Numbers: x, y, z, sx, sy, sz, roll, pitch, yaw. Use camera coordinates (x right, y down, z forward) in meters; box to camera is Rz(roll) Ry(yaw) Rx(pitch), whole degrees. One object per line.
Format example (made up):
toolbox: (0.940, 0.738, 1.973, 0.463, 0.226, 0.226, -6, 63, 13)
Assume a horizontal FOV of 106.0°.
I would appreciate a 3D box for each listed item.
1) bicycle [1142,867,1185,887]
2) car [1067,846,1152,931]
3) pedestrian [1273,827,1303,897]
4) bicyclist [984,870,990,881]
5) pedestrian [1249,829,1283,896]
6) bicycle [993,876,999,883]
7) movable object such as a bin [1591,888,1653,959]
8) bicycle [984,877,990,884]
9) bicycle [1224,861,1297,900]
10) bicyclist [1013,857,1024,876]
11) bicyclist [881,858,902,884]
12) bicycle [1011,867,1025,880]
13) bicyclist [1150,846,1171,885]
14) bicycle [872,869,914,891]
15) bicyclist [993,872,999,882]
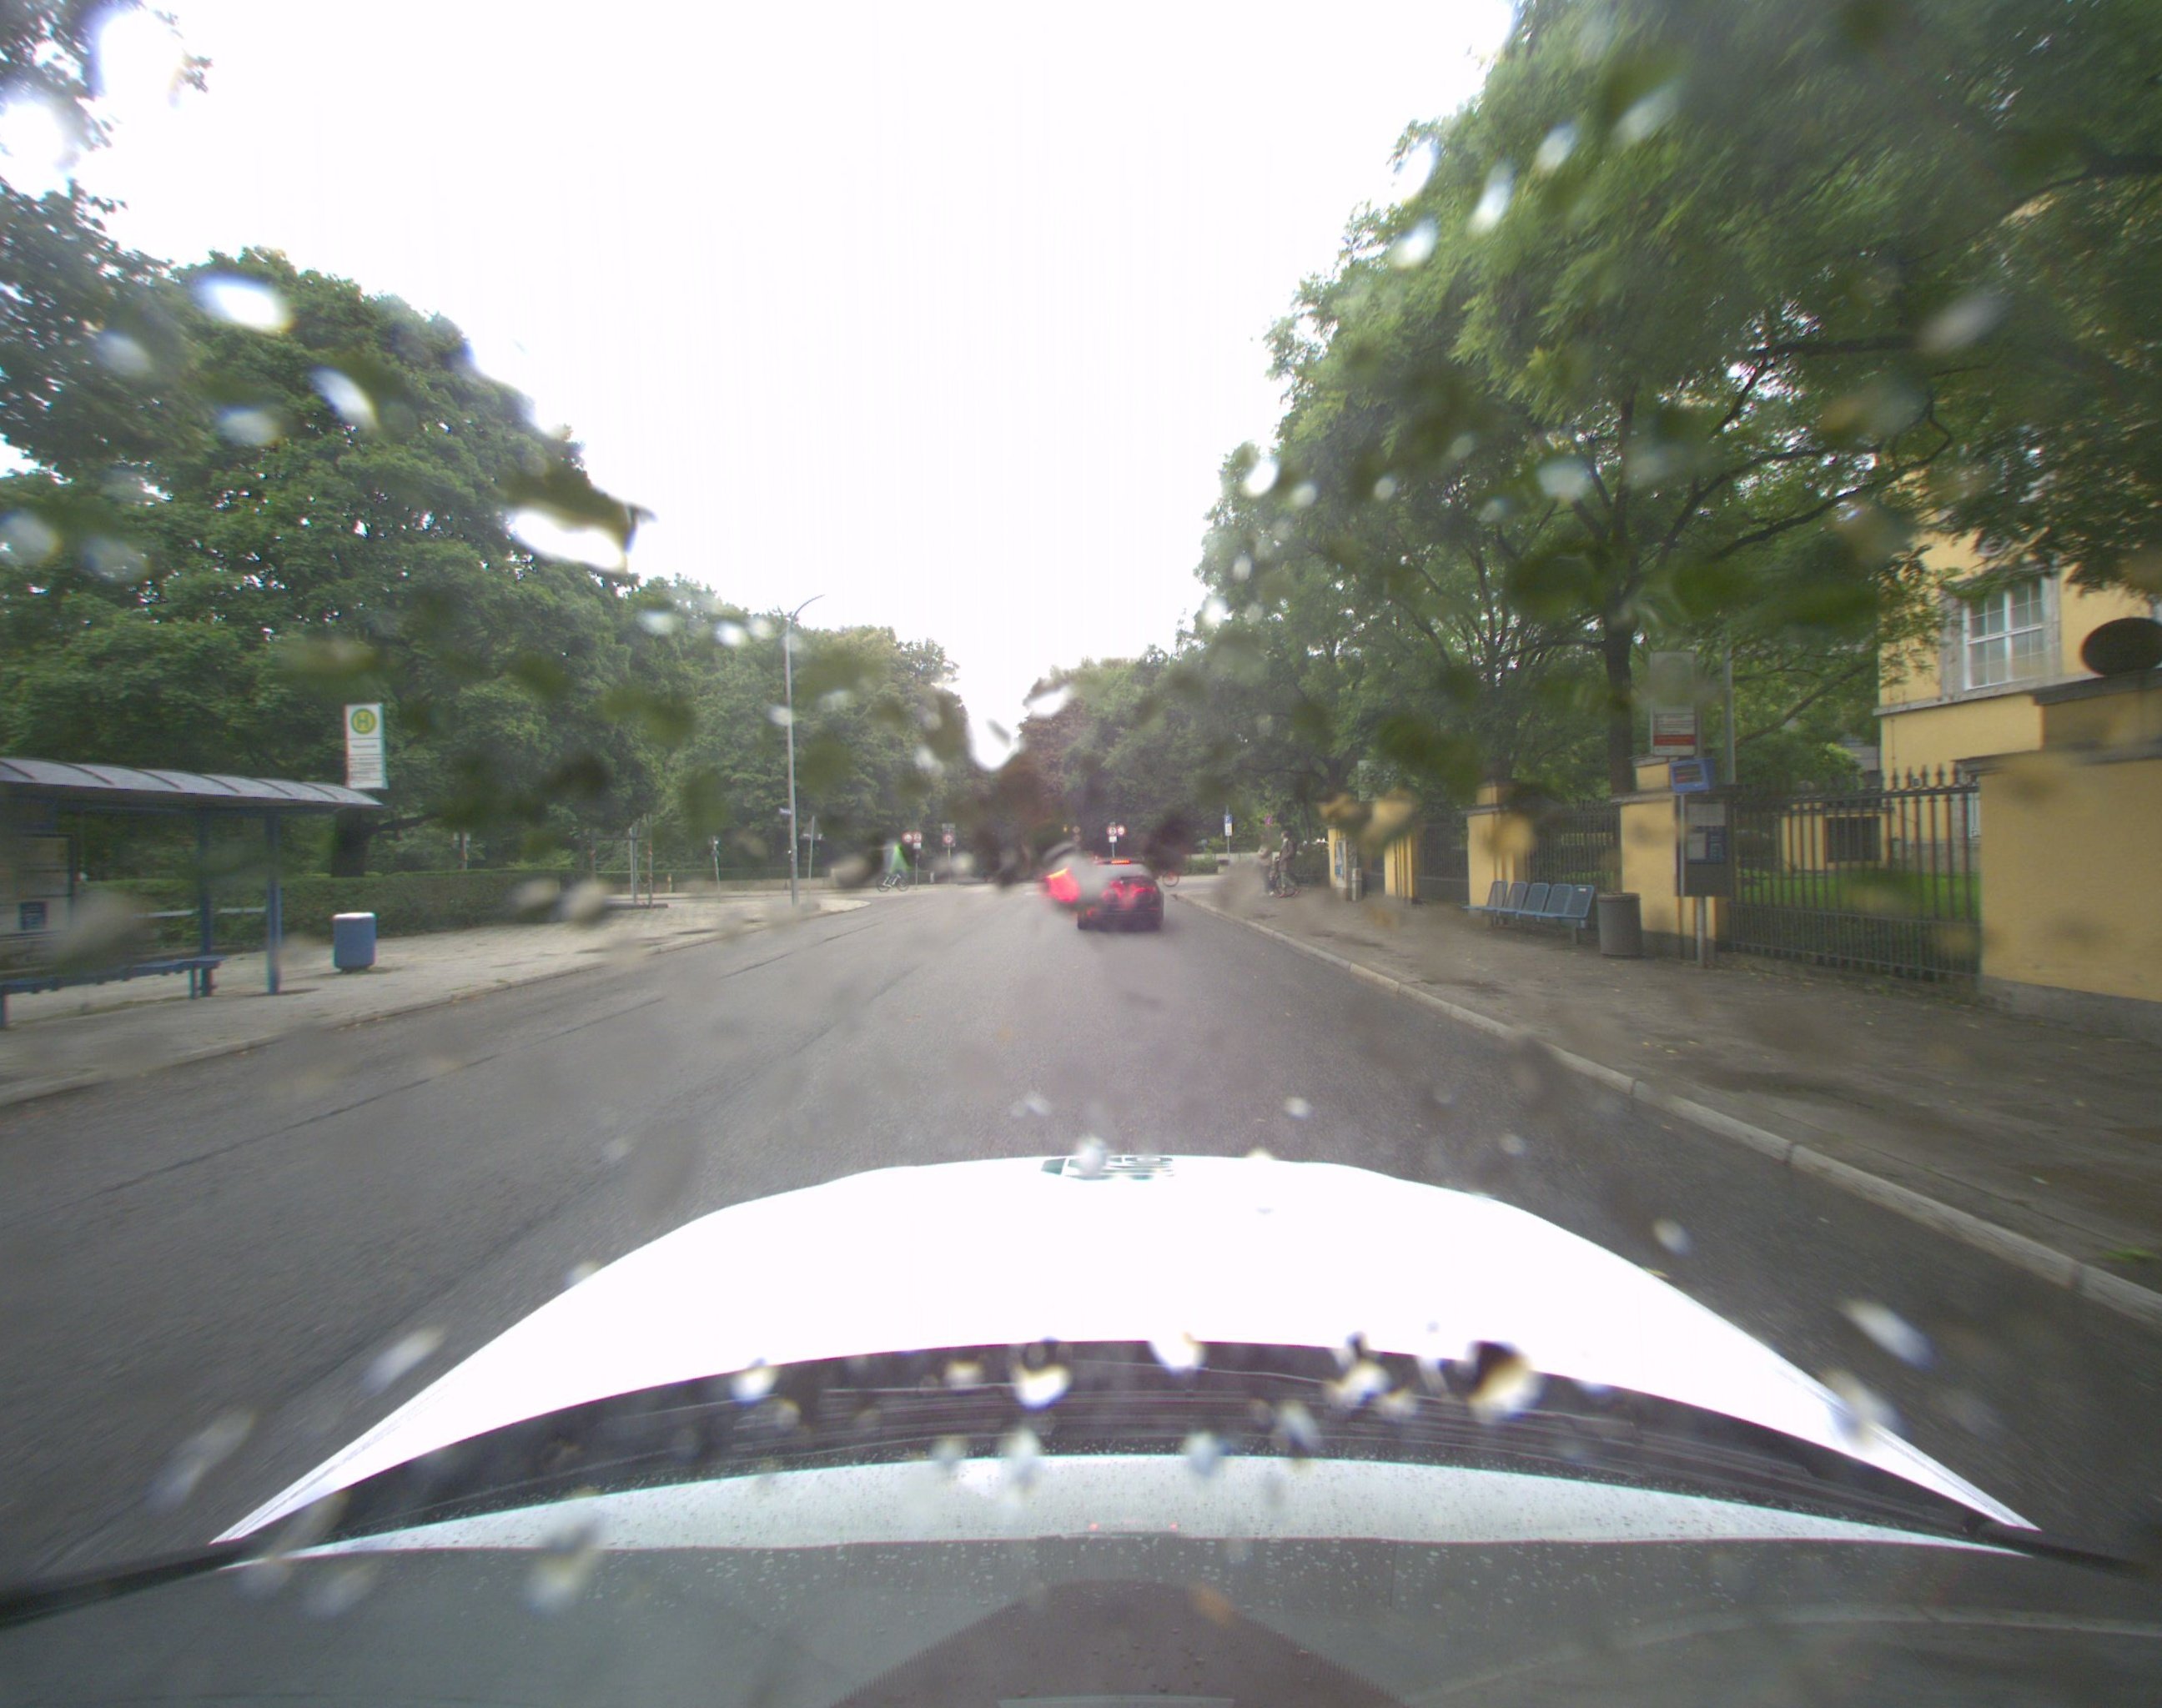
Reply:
bicycle: (3.405, 0.943, 33.681, 1.756, 0.796, 0.571, -1, -1, 2)
car: (0.614, 0.659, 17.564, 1.571, 1.584, 4.046, -2, 0, 2)
pedestrian: (5.810, 0.233, 22.884, 0.541, 1.918, 0.491, -4, -1, -8)
bicyclist: (-13.168, 3.010, 114.372, 0.681, 1.504, 0.898, -2, 0, -10)
pedestrian: (5.444, 0.255, 24.022, 0.673, 1.918, 0.639, -4, -1, -8)
bicycle: (-10.642, 3.197, 102.168, 0.679, 0.830, 2.104, -2, -1, -8)
movable object such as a bin: (6.292, 0.800, 9.481, 0.395, 0.780, 0.465, -2, 0, 2)
bicycle: (-13.132, 3.709, 114.255, 0.679, 0.830, 2.102, -2, -1, -10)
bicycle: (5.149, 0.755, 23.335, 1.904, 0.949, 0.581, -5, -1, -8)
bicyclist: (-4.473, 0.887, 57.967, 0.678, 1.282, 0.600, -2, 0, 2)
bicyclist: (-9.361, 0.847, 40.178, 0.518, 1.257, 0.859, -3, -1, 34)
bicycle: (-4.457, 1.376, 57.972, 0.677, 0.830, 2.111, -2, -1, 3)
bicyclist: (3.283, 0.476, 33.654, 0.748, 1.585, 0.656, -2, -1, 2)
bicycle: (-9.259, 1.263, 40.239, 0.673, 0.991, 2.123, -3, -1, 34)
bicyclist: (-10.654, 2.886, 102.194, 0.680, 1.187, 0.479, -2, 0, -10)
